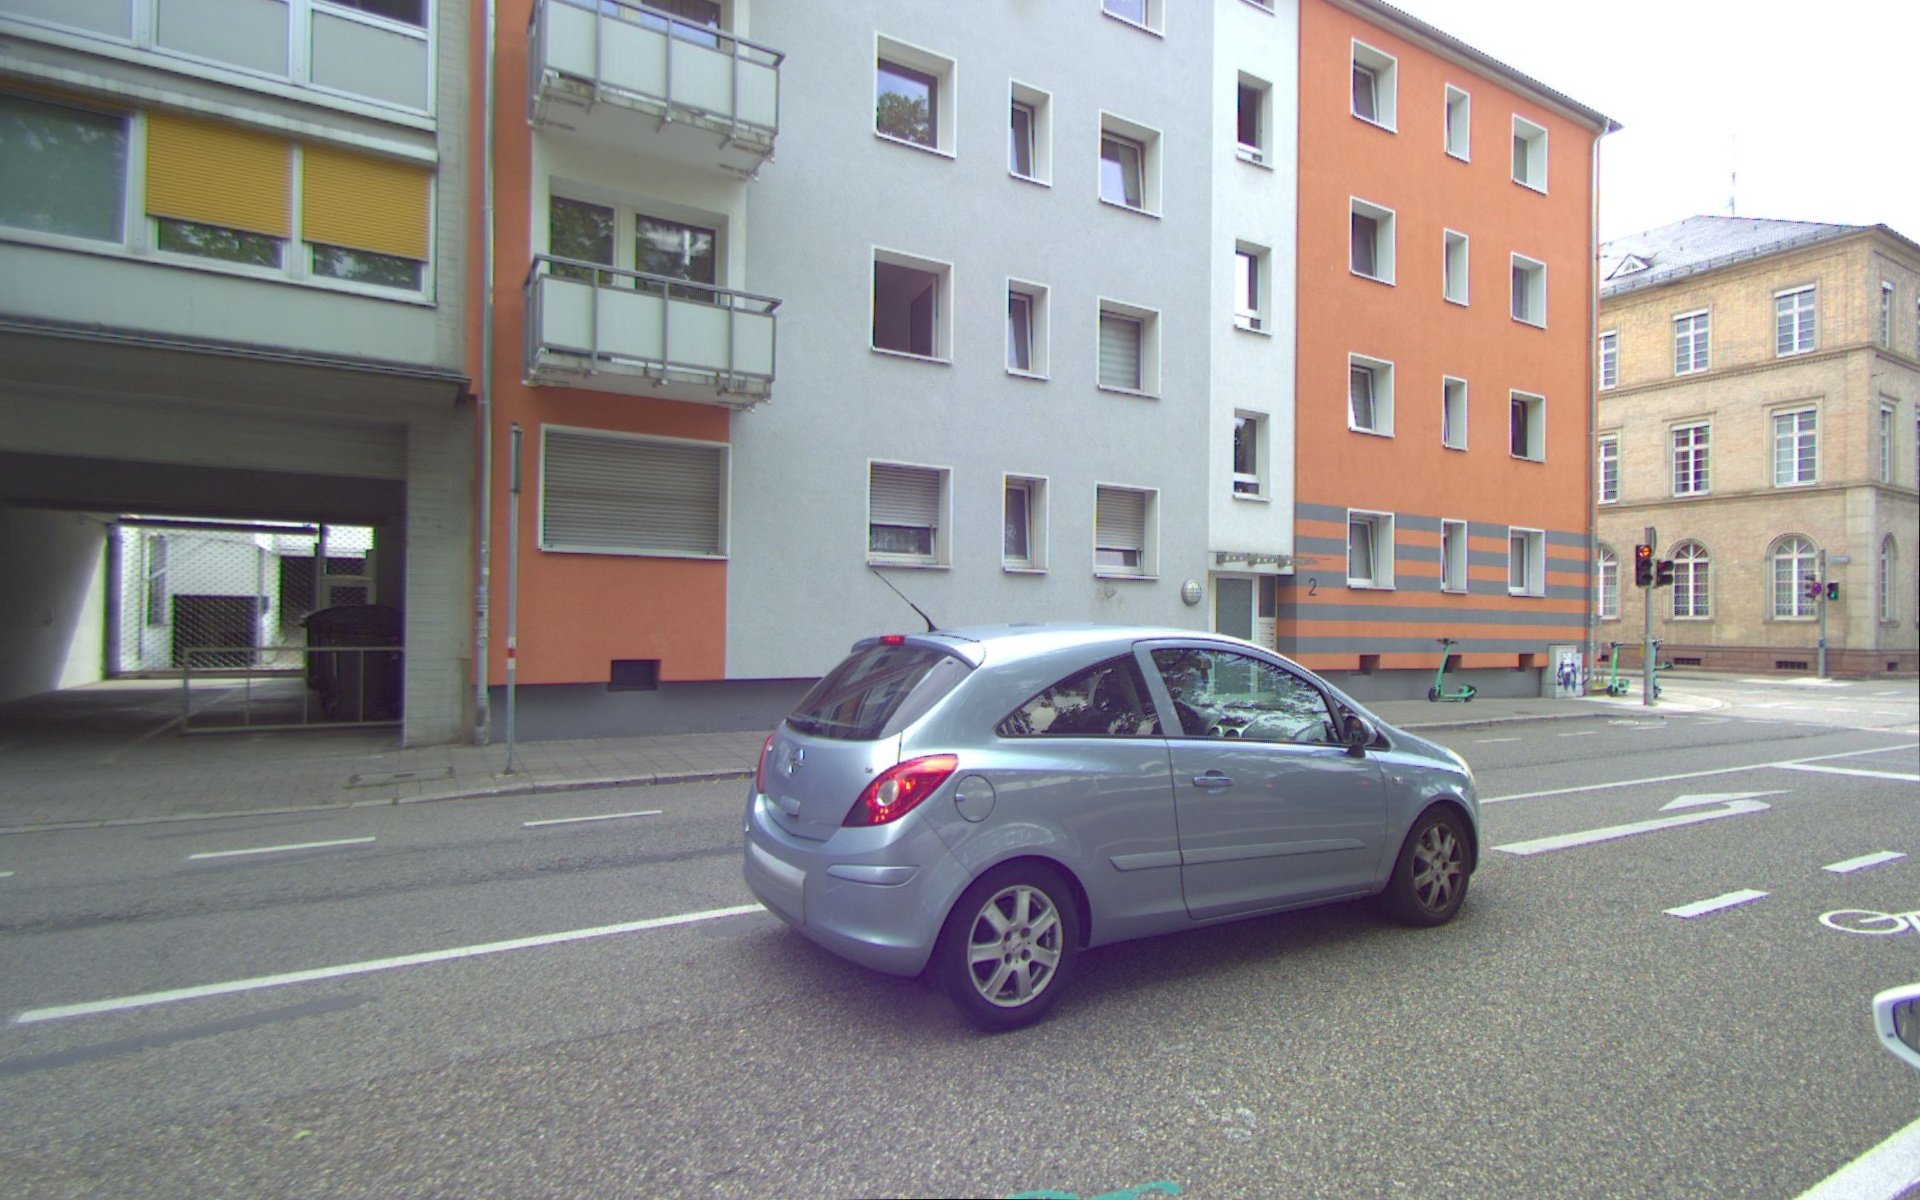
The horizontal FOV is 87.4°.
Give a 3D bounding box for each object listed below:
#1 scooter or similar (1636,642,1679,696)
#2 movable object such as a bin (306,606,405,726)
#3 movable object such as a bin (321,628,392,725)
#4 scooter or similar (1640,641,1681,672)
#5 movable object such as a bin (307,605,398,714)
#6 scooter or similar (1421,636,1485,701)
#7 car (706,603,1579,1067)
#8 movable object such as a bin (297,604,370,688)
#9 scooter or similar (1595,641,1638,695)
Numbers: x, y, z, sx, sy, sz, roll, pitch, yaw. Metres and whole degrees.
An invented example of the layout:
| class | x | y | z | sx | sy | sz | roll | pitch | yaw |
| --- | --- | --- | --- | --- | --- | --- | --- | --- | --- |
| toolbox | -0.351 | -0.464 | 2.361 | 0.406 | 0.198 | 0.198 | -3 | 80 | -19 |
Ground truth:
| class | x | y | z | sx | sy | sz | roll | pitch | yaw |
| --- | --- | --- | --- | --- | --- | --- | --- | --- | --- |
| scooter or similar | 15.273 | 1.515 | 21.987 | 1.130 | 1.159 | 0.376 | 3 | -2 | -34 |
| movable object such as a bin | -7.921 | 0.831 | 13.223 | 1.040 | 1.483 | 1.185 | 1 | -1 | -29 |
| movable object such as a bin | -7.427 | 0.923 | 12.393 | 0.701 | 1.140 | 0.639 | 1 | -1 | -29 |
| scooter or similar | 24.618 | 1.986 | 35.328 | 0.375 | 1.063 | 1.133 | 3 | -2 | -30 |
| movable object such as a bin | -8.732 | 0.831 | 14.501 | 1.040 | 1.483 | 1.185 | 1 | -1 | -29 |
| scooter or similar | 9.317 | 1.296 | 18.962 | 1.374 | 1.199 | 0.376 | 3 | -2 | -30 |
| car | 1.058 | 0.809 | 4.983 | 4.205 | 1.439 | 1.704 | 1 | -3 | -32 |
| movable object such as a bin | -11.472 | 0.825 | 18.444 | 1.040 | 1.483 | 1.185 | 1 | -1 | -29 |
| scooter or similar | 14.525 | 1.514 | 22.228 | 1.130 | 1.162 | 0.376 | 3 | -2 | -34 |
